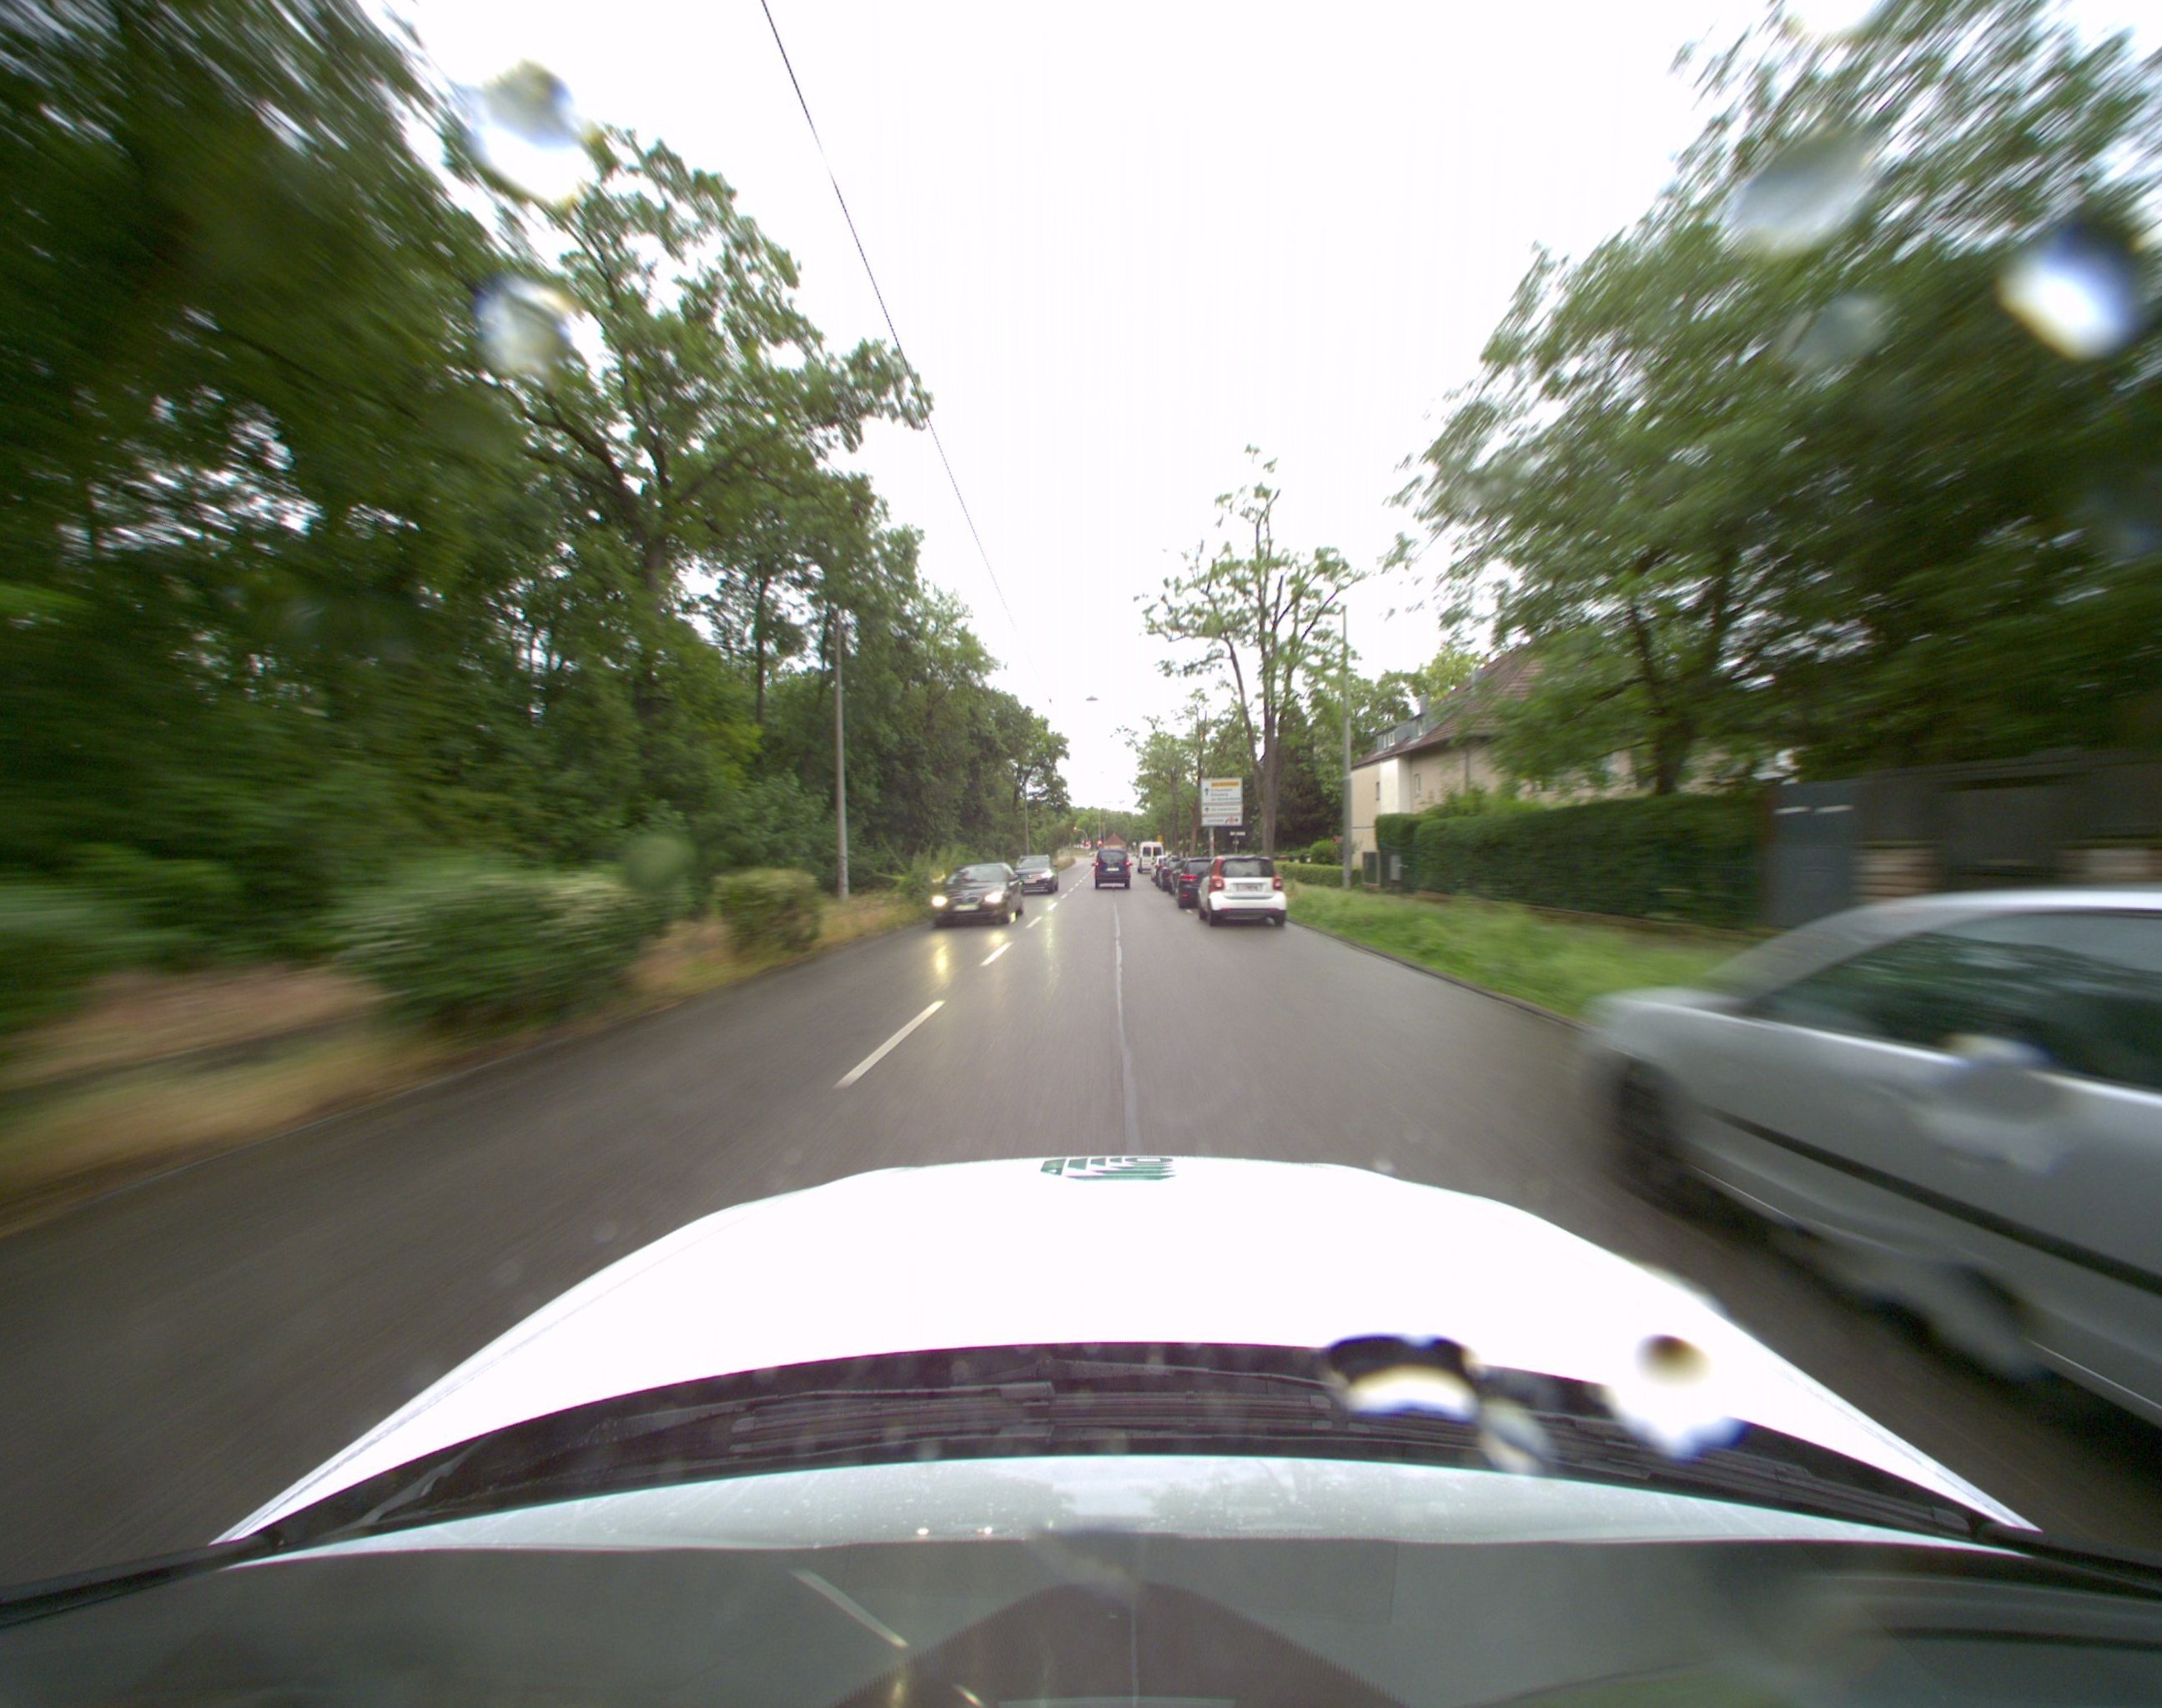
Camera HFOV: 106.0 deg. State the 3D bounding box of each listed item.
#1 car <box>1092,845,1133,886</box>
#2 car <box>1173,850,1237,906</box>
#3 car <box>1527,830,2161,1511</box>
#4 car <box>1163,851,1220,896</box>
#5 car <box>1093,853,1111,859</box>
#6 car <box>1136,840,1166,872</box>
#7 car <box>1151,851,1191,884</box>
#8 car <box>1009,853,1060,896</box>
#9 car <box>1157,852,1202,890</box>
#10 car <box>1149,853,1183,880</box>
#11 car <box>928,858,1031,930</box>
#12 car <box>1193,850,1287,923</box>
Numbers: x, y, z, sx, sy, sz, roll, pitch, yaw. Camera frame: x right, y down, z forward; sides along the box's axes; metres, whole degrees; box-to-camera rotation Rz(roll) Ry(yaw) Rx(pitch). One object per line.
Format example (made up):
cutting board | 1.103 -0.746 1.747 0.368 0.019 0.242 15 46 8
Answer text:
car | 1.419 0.498 38.106 1.761 1.830 3.541 0 1 -1
car | 3.700 0.661 24.865 1.690 1.524 3.873 0 1 5
car | 3.212 0.691 2.518 1.612 1.508 3.835 0 1 1
car | 3.984 0.677 29.907 1.692 1.524 3.869 0 0 1
car | 4.945 0.427 194.239 4.010 1.376 1.724 0 1 11
car | 5.643 0.151 66.016 2.196 2.449 4.732 -1 0 2
car | 4.502 0.643 41.136 1.692 1.524 3.869 0 0 1
car | -1.919 0.838 35.014 1.716 1.615 4.158 -2 1 2
car | 4.269 0.687 35.749 1.691 1.524 4.214 0 0 3
car | 4.910 0.694 47.275 1.692 1.524 3.869 0 0 1
car | -2.433 0.911 20.766 1.722 1.442 5.115 -3 1 2
car | 3.541 0.675 18.554 1.627 1.509 2.958 0 1 1
